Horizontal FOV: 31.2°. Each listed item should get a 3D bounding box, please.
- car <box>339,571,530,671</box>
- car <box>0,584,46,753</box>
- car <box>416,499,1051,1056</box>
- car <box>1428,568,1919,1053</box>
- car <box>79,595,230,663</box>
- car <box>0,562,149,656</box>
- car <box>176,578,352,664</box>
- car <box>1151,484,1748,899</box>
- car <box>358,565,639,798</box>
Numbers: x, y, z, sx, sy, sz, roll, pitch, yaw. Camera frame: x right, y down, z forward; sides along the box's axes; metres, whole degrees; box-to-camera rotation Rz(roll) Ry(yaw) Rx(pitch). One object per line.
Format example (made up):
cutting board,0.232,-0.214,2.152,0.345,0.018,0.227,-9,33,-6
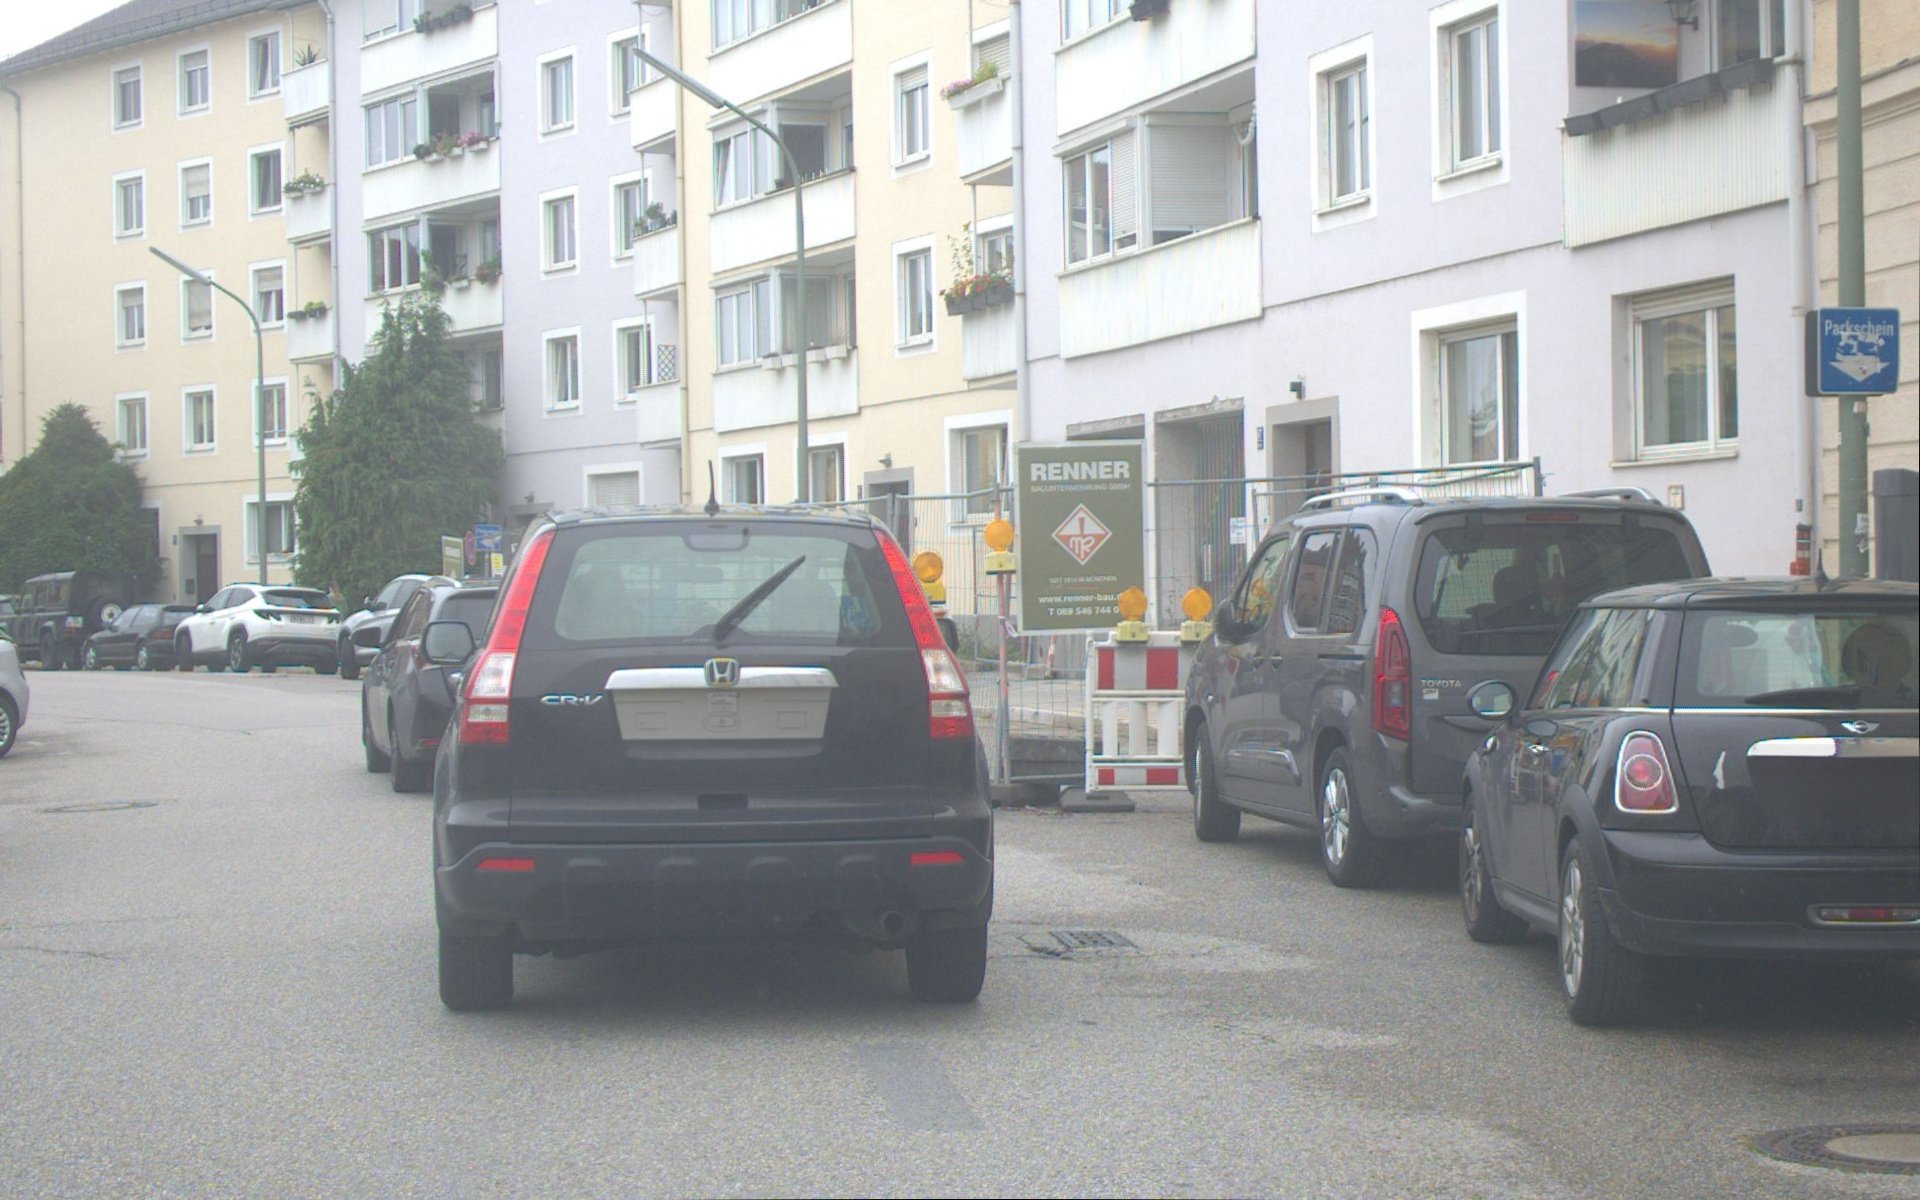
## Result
car,-8.257,0.297,53.740,1.724,1.478,4.000,0,1,-28
car,-10.174,0.754,29.716,1.683,1.476,4.078,-5,0,39
car,-0.906,0.512,12.326,1.890,1.642,3.992,-1,0,-7
car,2.759,0.621,12.216,1.708,1.442,3.829,1,0,1
car,-15.648,0.549,66.700,1.697,1.232,3.601,0,1,-34
car,-18.182,0.156,70.504,1.724,1.871,4.000,0,1,-34
car,-12.683,0.353,62.509,1.724,1.478,4.000,0,1,-34
car,2.274,0.386,17.174,1.777,1.800,4.277,1,0,-9
car,-3.322,0.509,24.184,1.678,1.476,4.087,-1,0,-11
